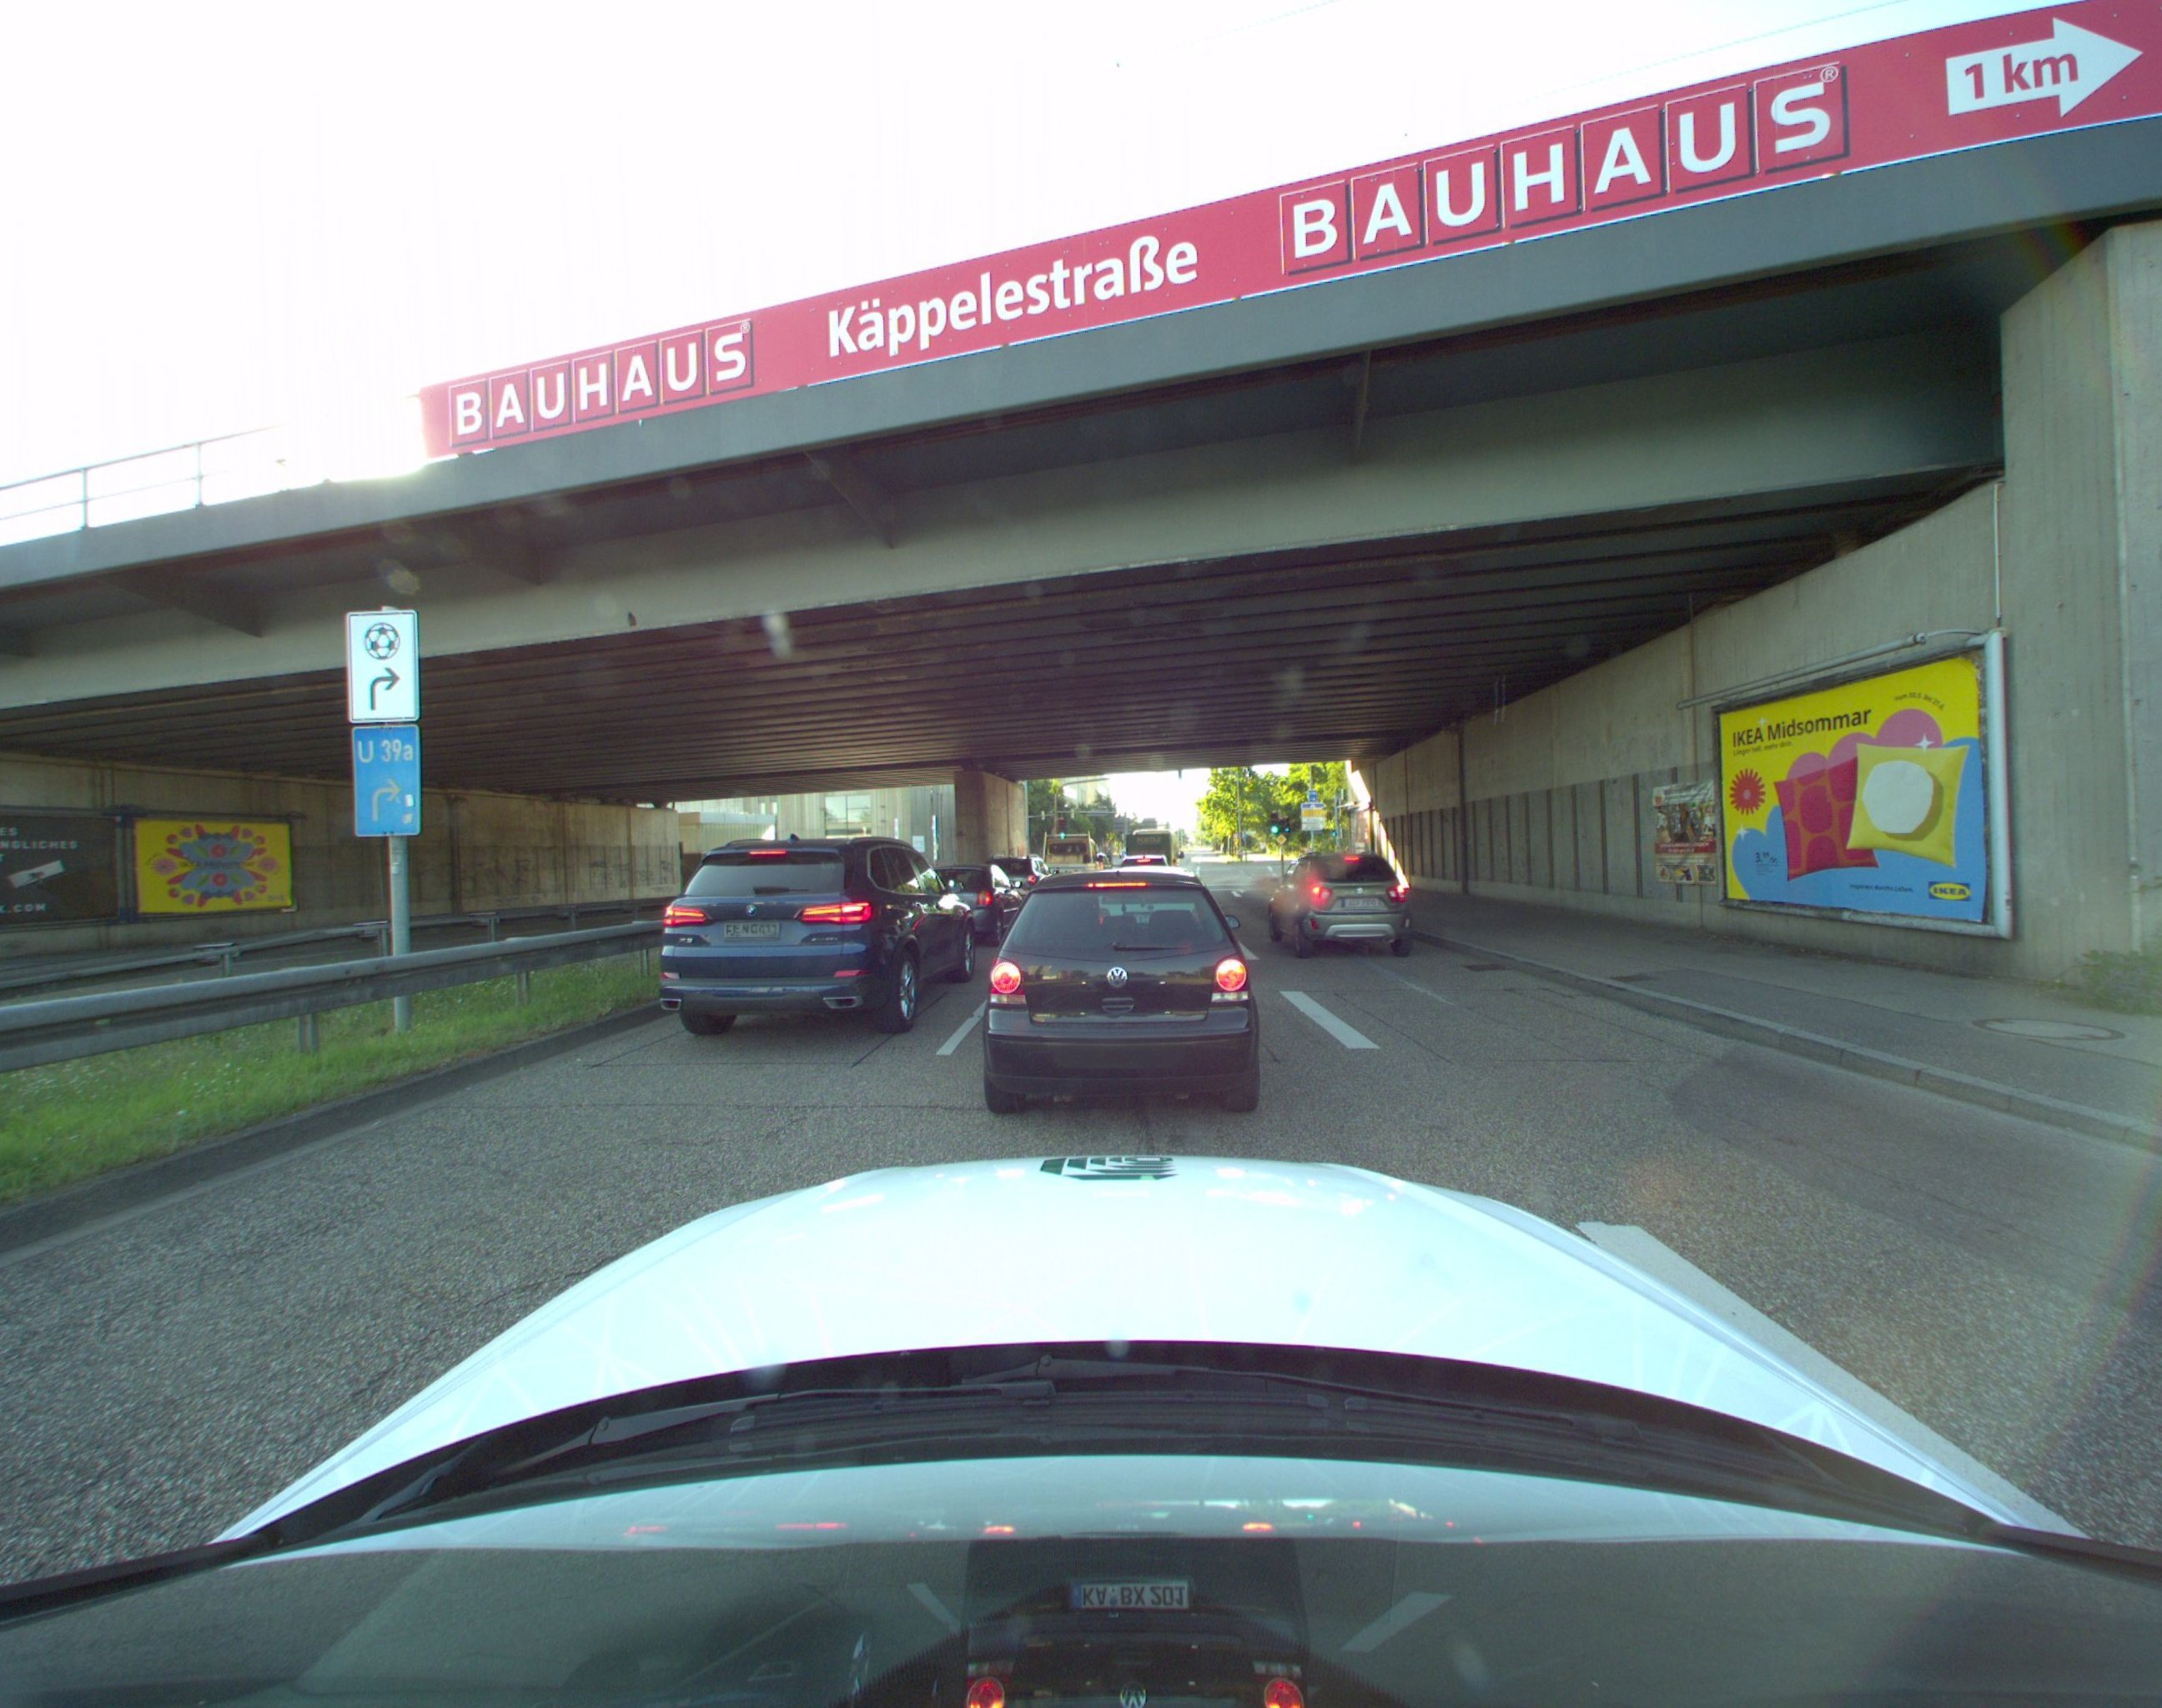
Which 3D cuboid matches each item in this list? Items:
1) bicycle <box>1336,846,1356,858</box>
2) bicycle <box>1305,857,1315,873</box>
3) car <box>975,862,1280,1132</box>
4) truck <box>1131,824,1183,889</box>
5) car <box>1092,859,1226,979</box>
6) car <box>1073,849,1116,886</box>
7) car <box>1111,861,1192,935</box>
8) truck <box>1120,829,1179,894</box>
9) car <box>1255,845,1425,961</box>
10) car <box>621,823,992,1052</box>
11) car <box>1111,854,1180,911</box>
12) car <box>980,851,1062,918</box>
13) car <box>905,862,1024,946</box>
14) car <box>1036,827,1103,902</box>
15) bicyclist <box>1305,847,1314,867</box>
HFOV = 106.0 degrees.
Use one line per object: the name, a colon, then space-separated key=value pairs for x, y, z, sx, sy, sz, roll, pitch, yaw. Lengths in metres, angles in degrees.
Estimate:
bicycle: x=25.003 y=-0.172 z=76.813 sx=1.647 sy=0.991 sz=0.581 roll=-3 pitch=2 yaw=25
bicycle: x=14.135 y=0.680 z=50.357 sx=0.435 sy=0.914 sz=1.029 roll=-3 pitch=-1 yaw=9
car: x=0.382 y=0.775 z=6.169 sx=1.609 sy=1.410 sz=3.687 roll=0 pitch=-1 yaw=4
truck: x=3.383 y=0.127 z=35.604 sx=1.984 sy=2.668 sz=4.009 roll=-1 pitch=-1 yaw=8
car: x=1.035 y=0.790 z=11.675 sx=1.572 sy=1.413 sz=4.065 roll=0 pitch=-1 yaw=3
car: x=0.694 y=0.629 z=39.085 sx=1.608 sy=1.679 sz=3.691 roll=0 pitch=-1 yaw=7
car: x=1.485 y=0.878 z=17.924 sx=1.572 sy=1.413 sz=4.065 roll=0 pitch=-1 yaw=3
truck: x=2.687 y=0.275 z=31.182 sx=1.984 sy=2.315 sz=4.009 roll=-1 pitch=-1 yaw=8
car: x=4.079 y=0.708 z=13.530 sx=1.729 sy=1.630 sz=4.065 roll=0 pitch=-1 yaw=3
car: x=-2.373 y=0.658 z=8.504 sx=1.984 sy=1.734 sz=4.539 roll=0 pitch=-1 yaw=5
car: x=2.039 y=0.807 z=24.616 sx=1.786 sy=1.559 sz=4.009 roll=0 pitch=-1 yaw=8
car: x=-1.535 y=0.775 z=22.096 sx=1.609 sy=1.679 sz=3.688 roll=0 pitch=-1 yaw=5
car: x=-2.091 y=0.864 z=15.581 sx=1.610 sy=1.410 sz=3.685 roll=0 pitch=-1 yaw=2
car: x=-0.340 y=0.392 z=30.887 sx=2.127 sy=2.576 sz=5.092 roll=0 pitch=-1 yaw=4
bicyclist: x=14.125 y=0.206 z=50.377 sx=0.425 sy=1.233 sz=0.461 roll=-2 pitch=-1 yaw=8
